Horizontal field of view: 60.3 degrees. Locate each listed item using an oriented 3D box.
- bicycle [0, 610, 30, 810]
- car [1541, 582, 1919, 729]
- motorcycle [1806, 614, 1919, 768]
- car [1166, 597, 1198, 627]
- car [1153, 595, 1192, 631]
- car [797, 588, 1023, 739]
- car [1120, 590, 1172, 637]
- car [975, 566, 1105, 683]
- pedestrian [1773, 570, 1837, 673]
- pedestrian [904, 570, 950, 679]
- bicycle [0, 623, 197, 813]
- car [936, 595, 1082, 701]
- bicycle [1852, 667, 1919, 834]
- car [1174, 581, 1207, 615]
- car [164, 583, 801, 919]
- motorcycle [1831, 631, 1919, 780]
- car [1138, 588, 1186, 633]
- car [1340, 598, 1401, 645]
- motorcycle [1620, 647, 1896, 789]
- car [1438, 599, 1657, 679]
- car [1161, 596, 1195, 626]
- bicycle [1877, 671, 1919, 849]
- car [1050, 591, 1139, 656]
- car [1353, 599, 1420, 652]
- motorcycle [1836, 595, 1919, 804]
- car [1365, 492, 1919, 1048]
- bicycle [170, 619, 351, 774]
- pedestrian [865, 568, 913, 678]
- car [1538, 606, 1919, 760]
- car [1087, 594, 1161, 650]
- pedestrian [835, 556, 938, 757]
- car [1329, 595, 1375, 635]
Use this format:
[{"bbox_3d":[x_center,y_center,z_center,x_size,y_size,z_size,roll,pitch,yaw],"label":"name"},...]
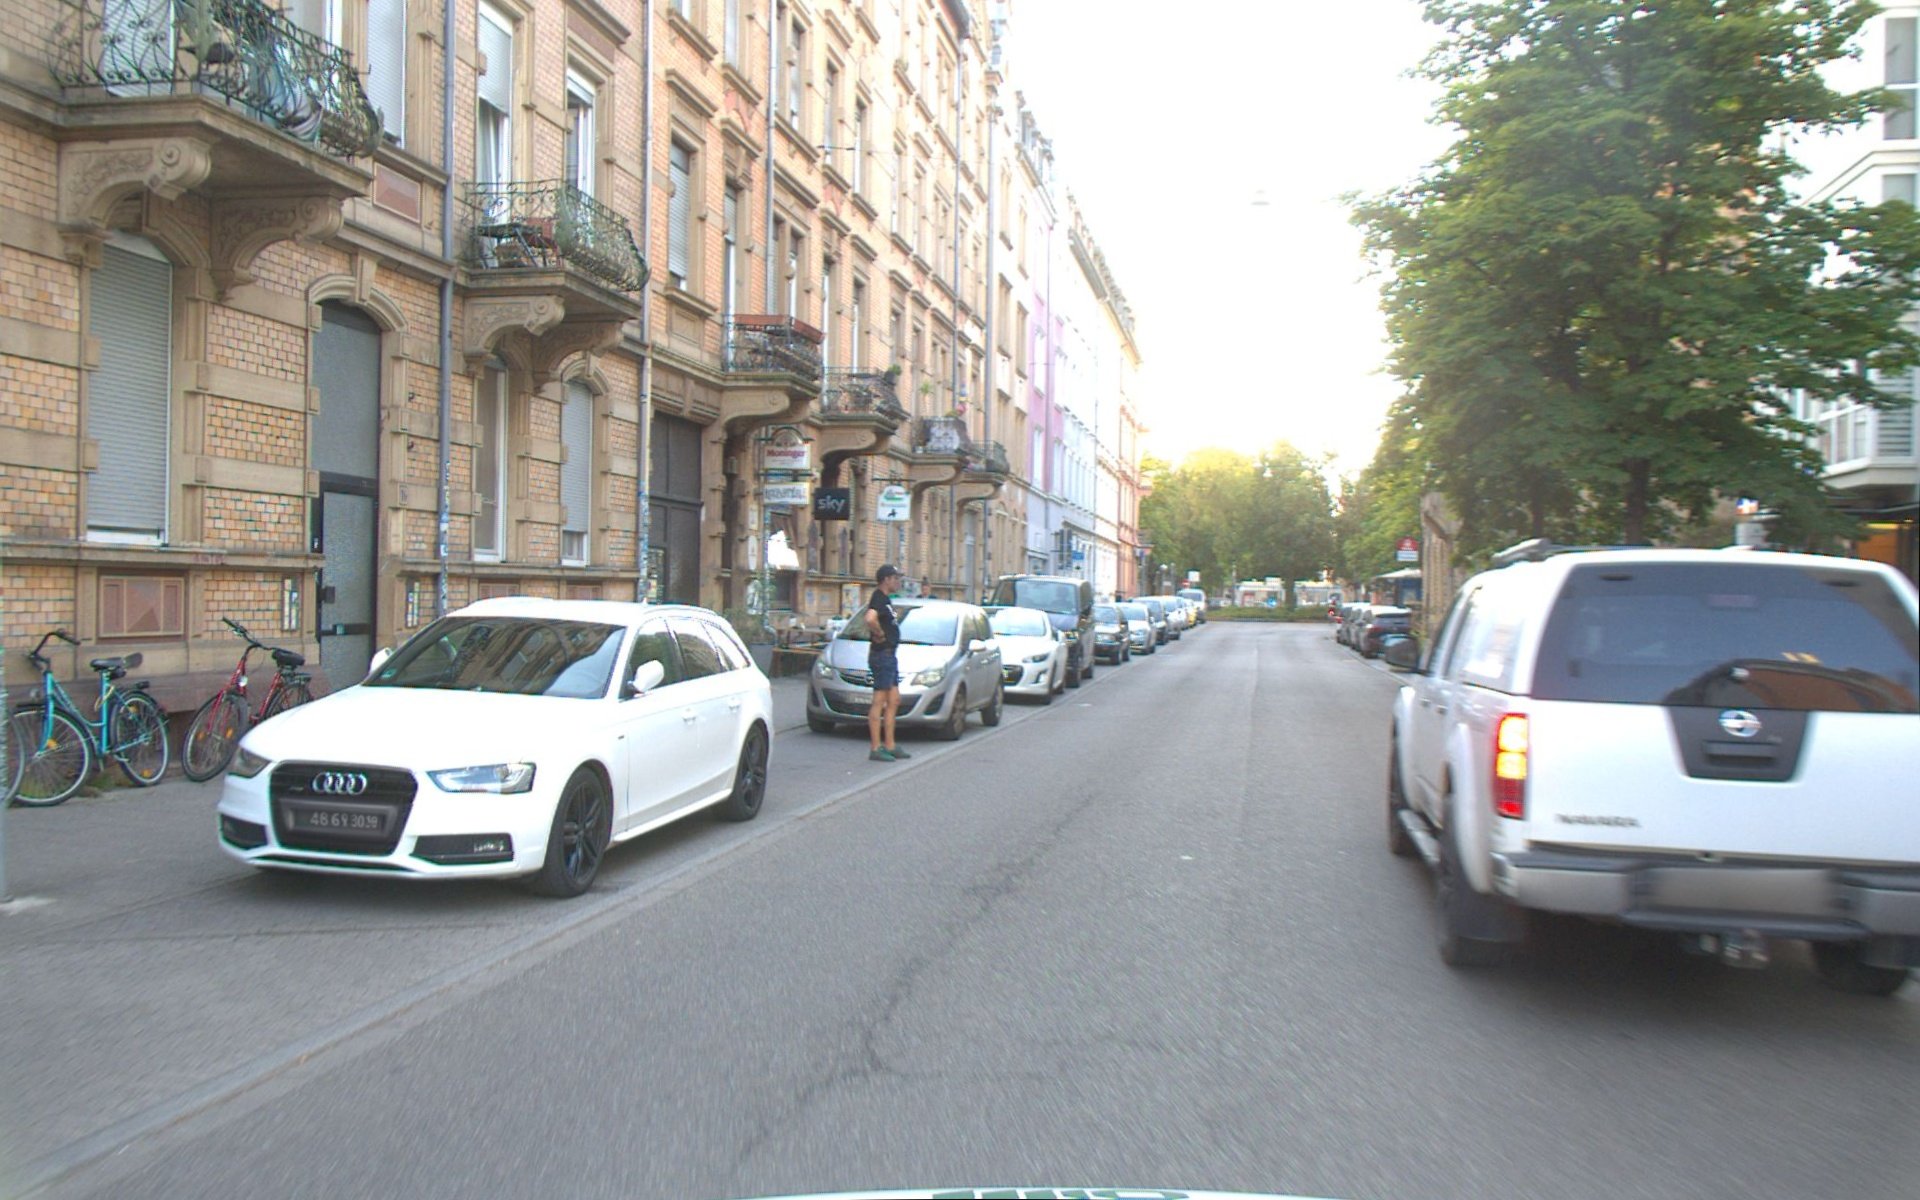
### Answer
[{"bbox_3d":[-5.894,0.635,8.941,0.504,1.151,1.732,1,0,10],"label":"bicycle"},{"bbox_3d":[9.558,0.666,20.342,4.304,1.676,1.748,-1,0,10],"label":"car"},{"bbox_3d":[9.202,0.834,15.597,2.013,1.393,0.718,-2,0,7],"label":"motorcycle"},{"bbox_3d":[12.529,0.667,93.152,1.662,1.579,4.025,3,0,8],"label":"car"},{"bbox_3d":[10.501,0.632,81.493,1.662,1.649,4.025,3,0,10],"label":"car"},{"bbox_3d":[-0.457,0.642,19.114,1.680,1.483,4.004,3,1,12],"label":"car"},{"bbox_3d":[6.688,0.468,59.305,1.601,1.593,3.785,2,0,9],"label":"car"},{"bbox_3d":[1.618,0.422,31.603,1.951,1.957,4.955,3,1,8],"label":"car"},{"bbox_3d":[14.690,0.377,28.783,0.712,1.746,0.964,-1,-1,11],"label":"pedestrian"},{"bbox_3d":[-0.563,0.403,28.331,0.592,1.803,0.778,4,1,6],"label":"pedestrian"},{"bbox_3d":[-5.564,0.694,10.391,0.553,1.054,1.625,1,0,10],"label":"bicycle"},{"bbox_3d":[0.876,0.693,26.445,1.746,1.447,4.489,3,1,9],"label":"car"},{"bbox_3d":[6.857,0.944,10.739,1.735,1.040,0.565,-3,-2,13],"label":"bicycle"},{"bbox_3d":[14.088,-0.121,101.168,1.772,2.011,4.189,3,0,6],"label":"car"},{"bbox_3d":[-2.405,0.651,9.708,1.720,1.436,4.512,2,1,10],"label":"car"},{"bbox_3d":[8.908,0.907,14.593,2.013,1.265,0.718,-2,0,12],"label":"motorcycle"},{"bbox_3d":[7.979,0.412,65.191,1.805,1.688,4.256,1,0,8],"label":"car"},{"bbox_3d":[13.995,0.716,56.537,1.640,1.482,4.234,-2,0,10],"label":"car"},{"bbox_3d":[6.681,0.970,13.889,2.017,1.097,0.663,-1,-1,-5],"label":"motorcycle"},{"bbox_3d":[11.981,0.784,33.965,3.999,1.478,1.884,-2,0,13],"label":"car"},{"bbox_3d":[11.522,0.576,87.302,1.662,1.451,4.025,3,0,8],"label":"car"},{"bbox_3d":[6.685,0.945,10.143,1.683,1.049,0.668,-3,-2,13],"label":"bicycle"},{"bbox_3d":[3.378,0.566,40.788,1.700,1.443,4.782,3,0,10],"label":"car"},{"bbox_3d":[12.882,0.739,50.187,1.640,1.454,4.482,-3,0,11],"label":"car"},{"bbox_3d":[8.199,0.730,12.682,2.438,1.576,0.824,-2,-1,13],"label":"motorcycle"},{"bbox_3d":[3.232,0.588,8.299,1.870,1.885,5.274,1,0,9],"label":"car"},{"bbox_3d":[-5.219,0.688,12.447,0.580,1.045,1.625,1,0,3],"label":"bicycle"},{"bbox_3d":[-1.197,0.369,28.032,0.568,1.802,0.998,4,1,6],"label":"pedestrian"},{"bbox_3d":[8.655,0.856,17.696,4.330,1.481,1.781,-1,0,5],"label":"car"},{"bbox_3d":[4.978,0.633,49.753,1.795,1.483,4.210,4,1,11],"label":"car"},{"bbox_3d":[-0.667,0.515,15.360,0.543,1.786,1.022,1,-1,21],"label":"pedestrian"},{"bbox_3d":[15.769,0.577,66.590,1.640,1.527,3.904,-2,0,12],"label":"car"}]
